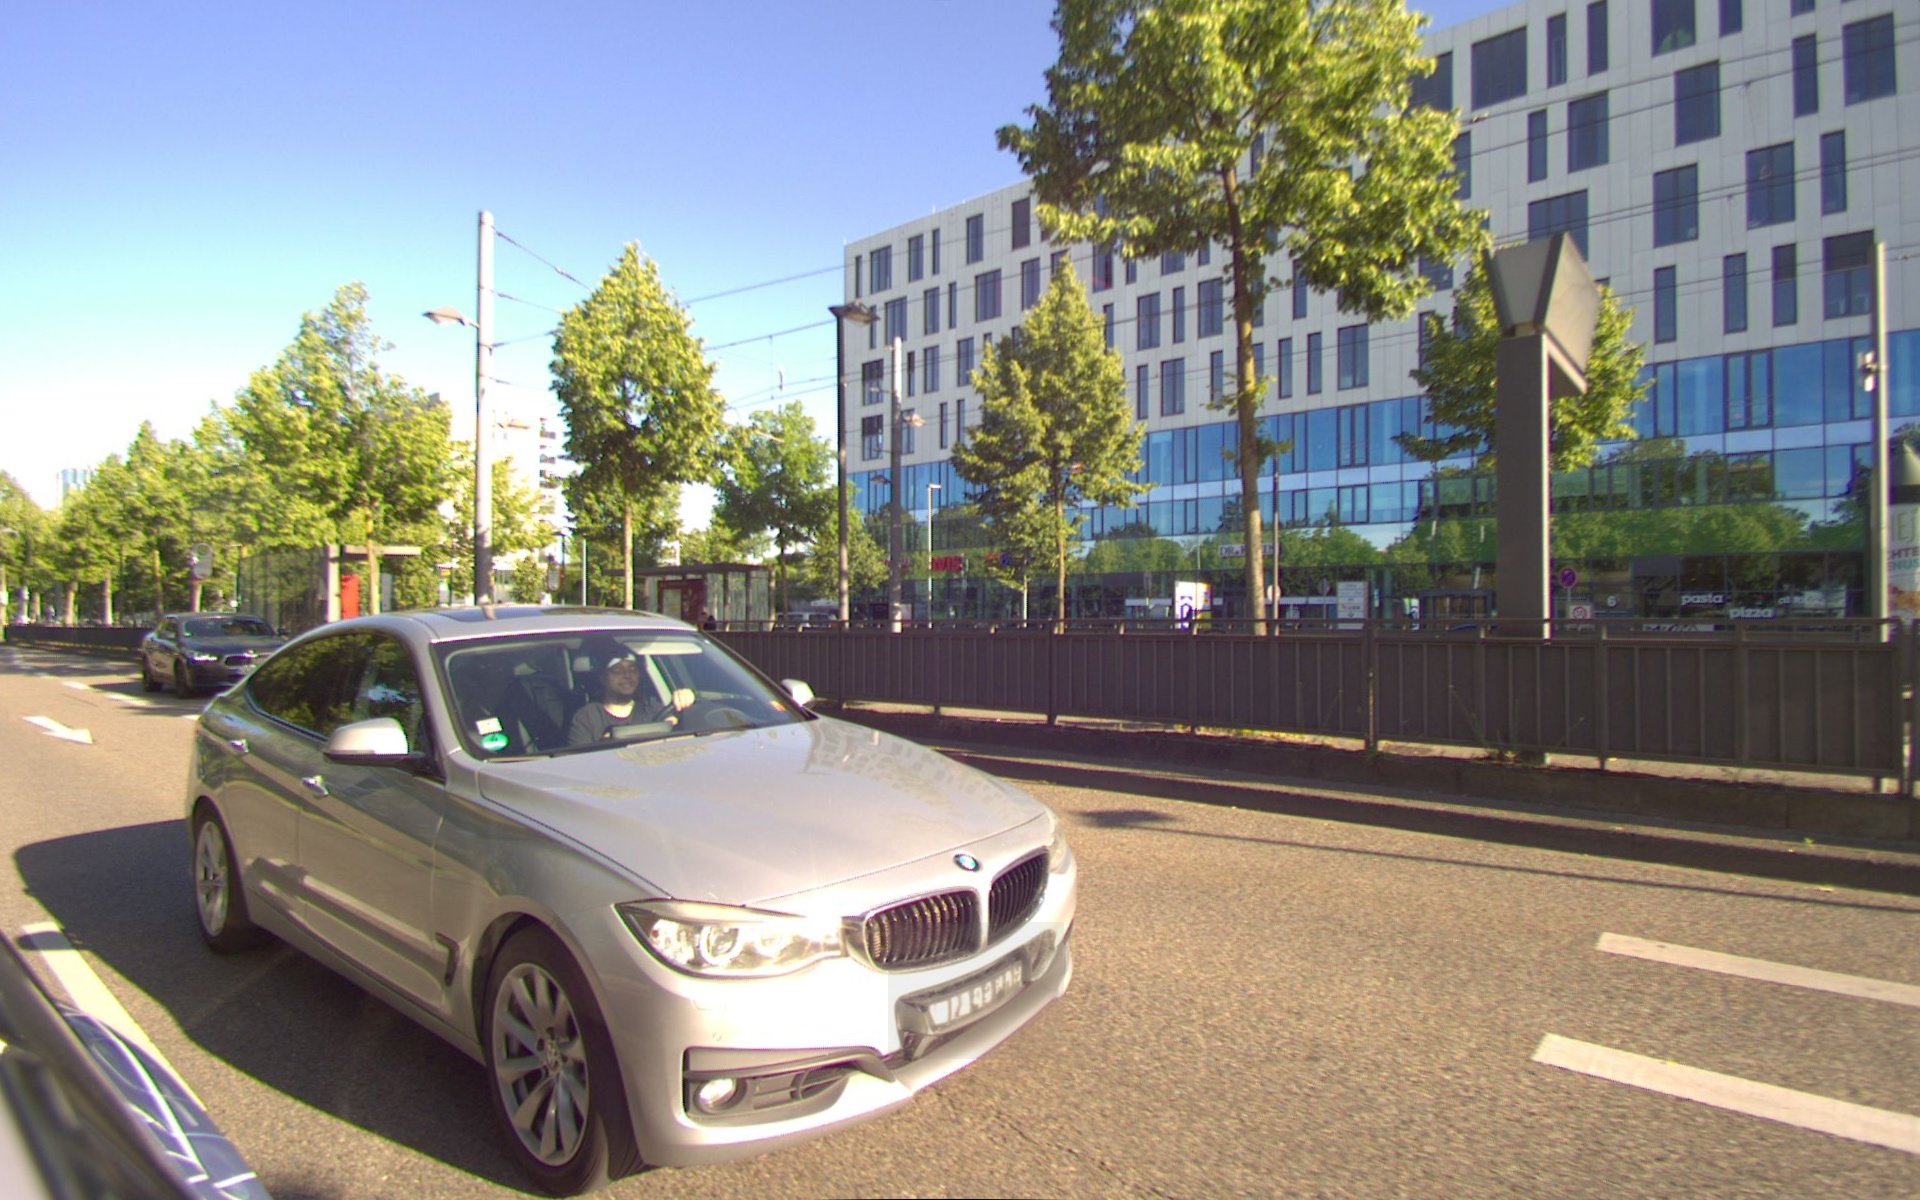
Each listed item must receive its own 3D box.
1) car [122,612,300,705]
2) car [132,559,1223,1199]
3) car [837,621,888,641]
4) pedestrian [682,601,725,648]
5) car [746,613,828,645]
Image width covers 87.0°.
[{"bbox_3d":[-14.272,1.038,19.208,4.340,1.538,1.780,-1,0,41],"label":"car"},{"bbox_3d":[-1.619,0.725,4.108,4.906,1.538,1.781,-1,0,40],"label":"car"},{"bbox_3d":[-7.695,2.457,80.406,1.873,1.365,3.950,-1,0,37],"label":"car"},{"bbox_3d":[-8.257,0.776,32.619,1.053,1.477,0.845,0,-1,-44],"label":"pedestrian"},{"bbox_3d":[-8.875,1.479,51.781,4.340,1.538,1.780,-1,0,41],"label":"car"}]
